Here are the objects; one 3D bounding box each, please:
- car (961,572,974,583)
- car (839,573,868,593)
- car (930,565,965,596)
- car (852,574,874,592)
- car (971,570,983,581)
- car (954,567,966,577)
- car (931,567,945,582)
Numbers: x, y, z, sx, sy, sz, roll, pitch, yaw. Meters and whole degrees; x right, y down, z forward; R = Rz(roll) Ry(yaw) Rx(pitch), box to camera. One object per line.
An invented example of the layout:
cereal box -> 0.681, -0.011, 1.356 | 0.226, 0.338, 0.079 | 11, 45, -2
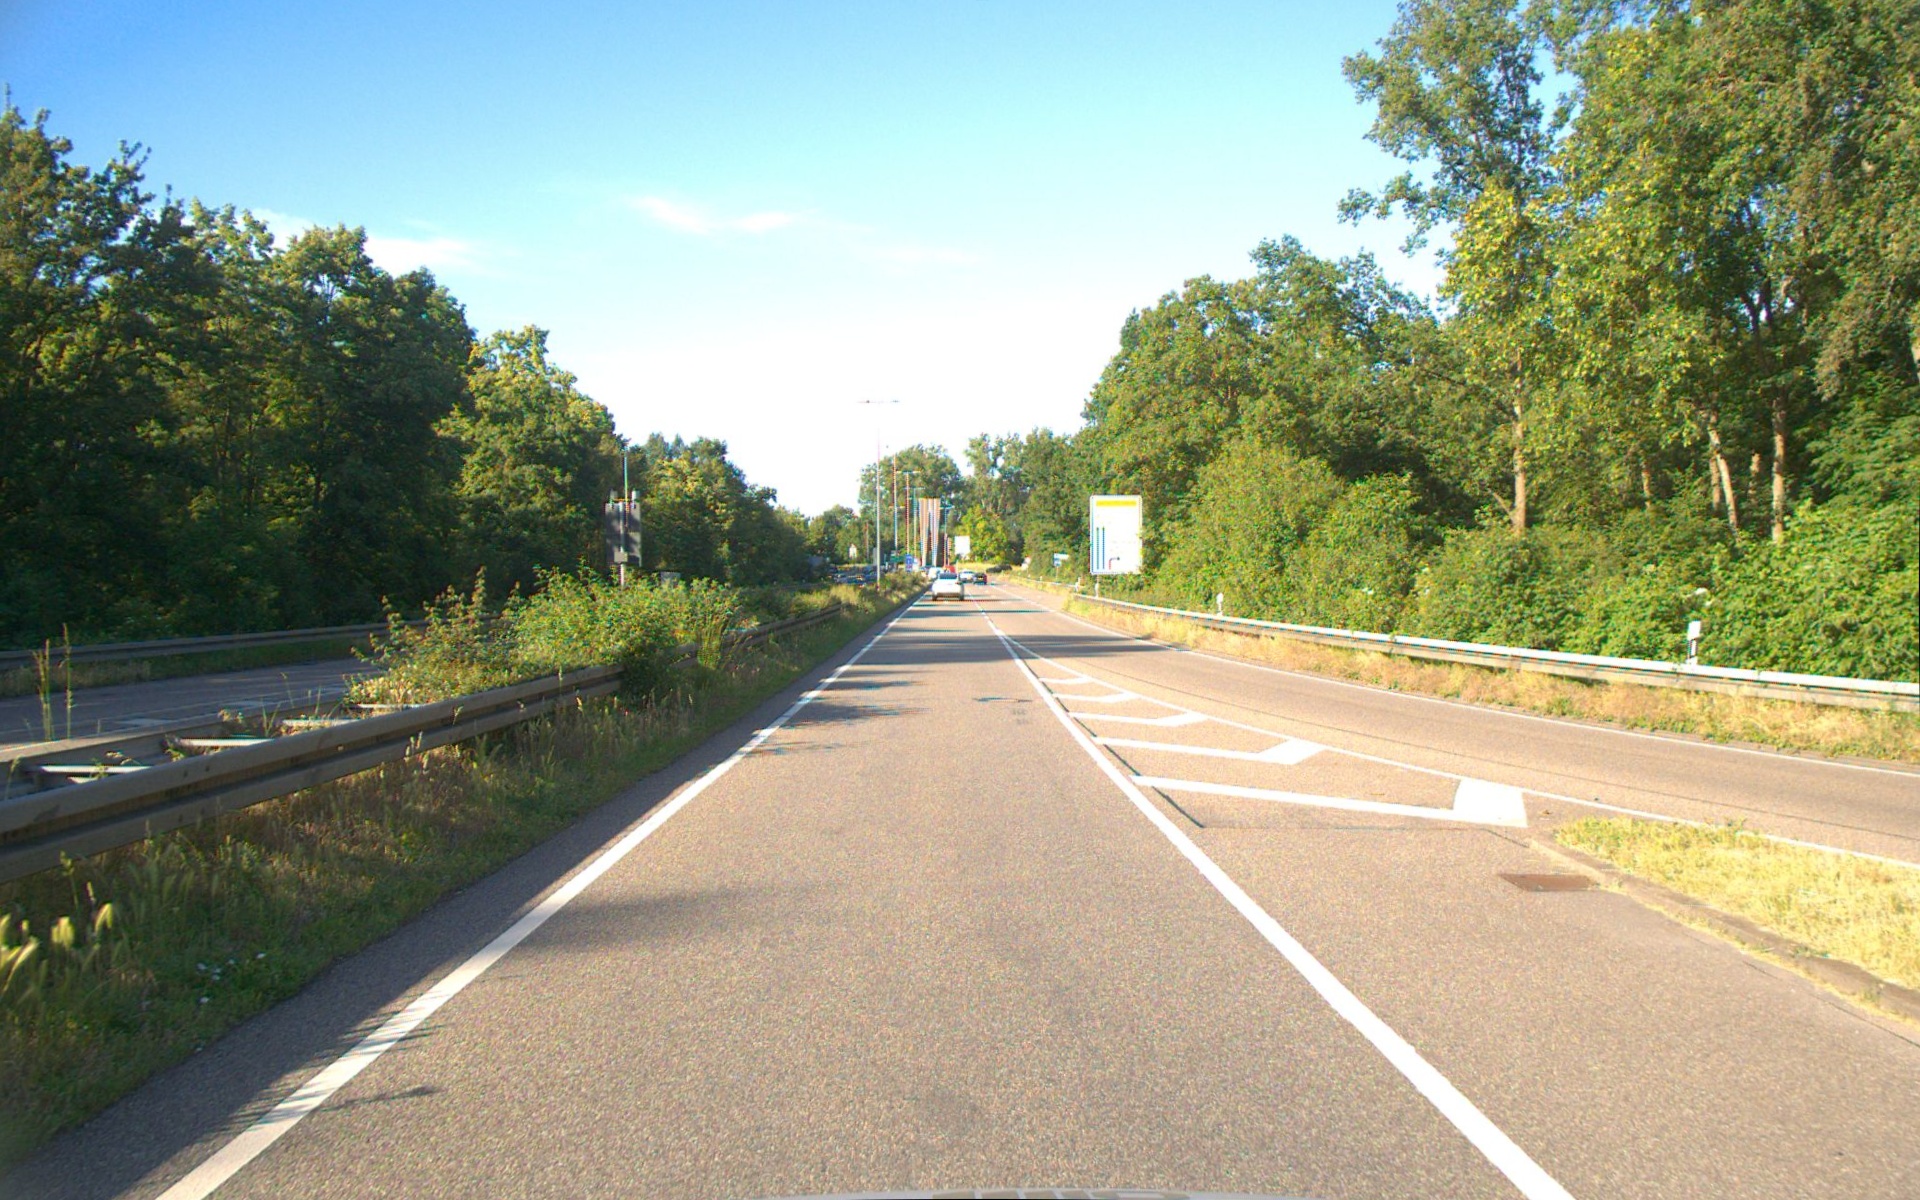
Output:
car -> 0.987, -2.944, 216.816 | 1.591, 1.303, 2.987 | 2, 0, -1
car -> -8.128, -1.311, 126.539 | 1.744, 1.427, 4.554 | -1, 1, 1
car -> -0.743, -1.177, 98.239 | 1.953, 1.668, 4.127 | -1, 2, -2
car -> -8.872, -1.559, 151.691 | 1.585, 1.557, 4.610 | -1, 1, 1
car -> 2.073, -2.919, 198.467 | 1.359, 1.303, 2.987 | 2, 0, -1
car -> 0.011, -4.016, 238.882 | 1.591, 1.414, 2.987 | 2, 0, -1
car -> -3.017, -3.462, 226.389 | 1.953, 2.049, 3.999 | 1, 0, -1
